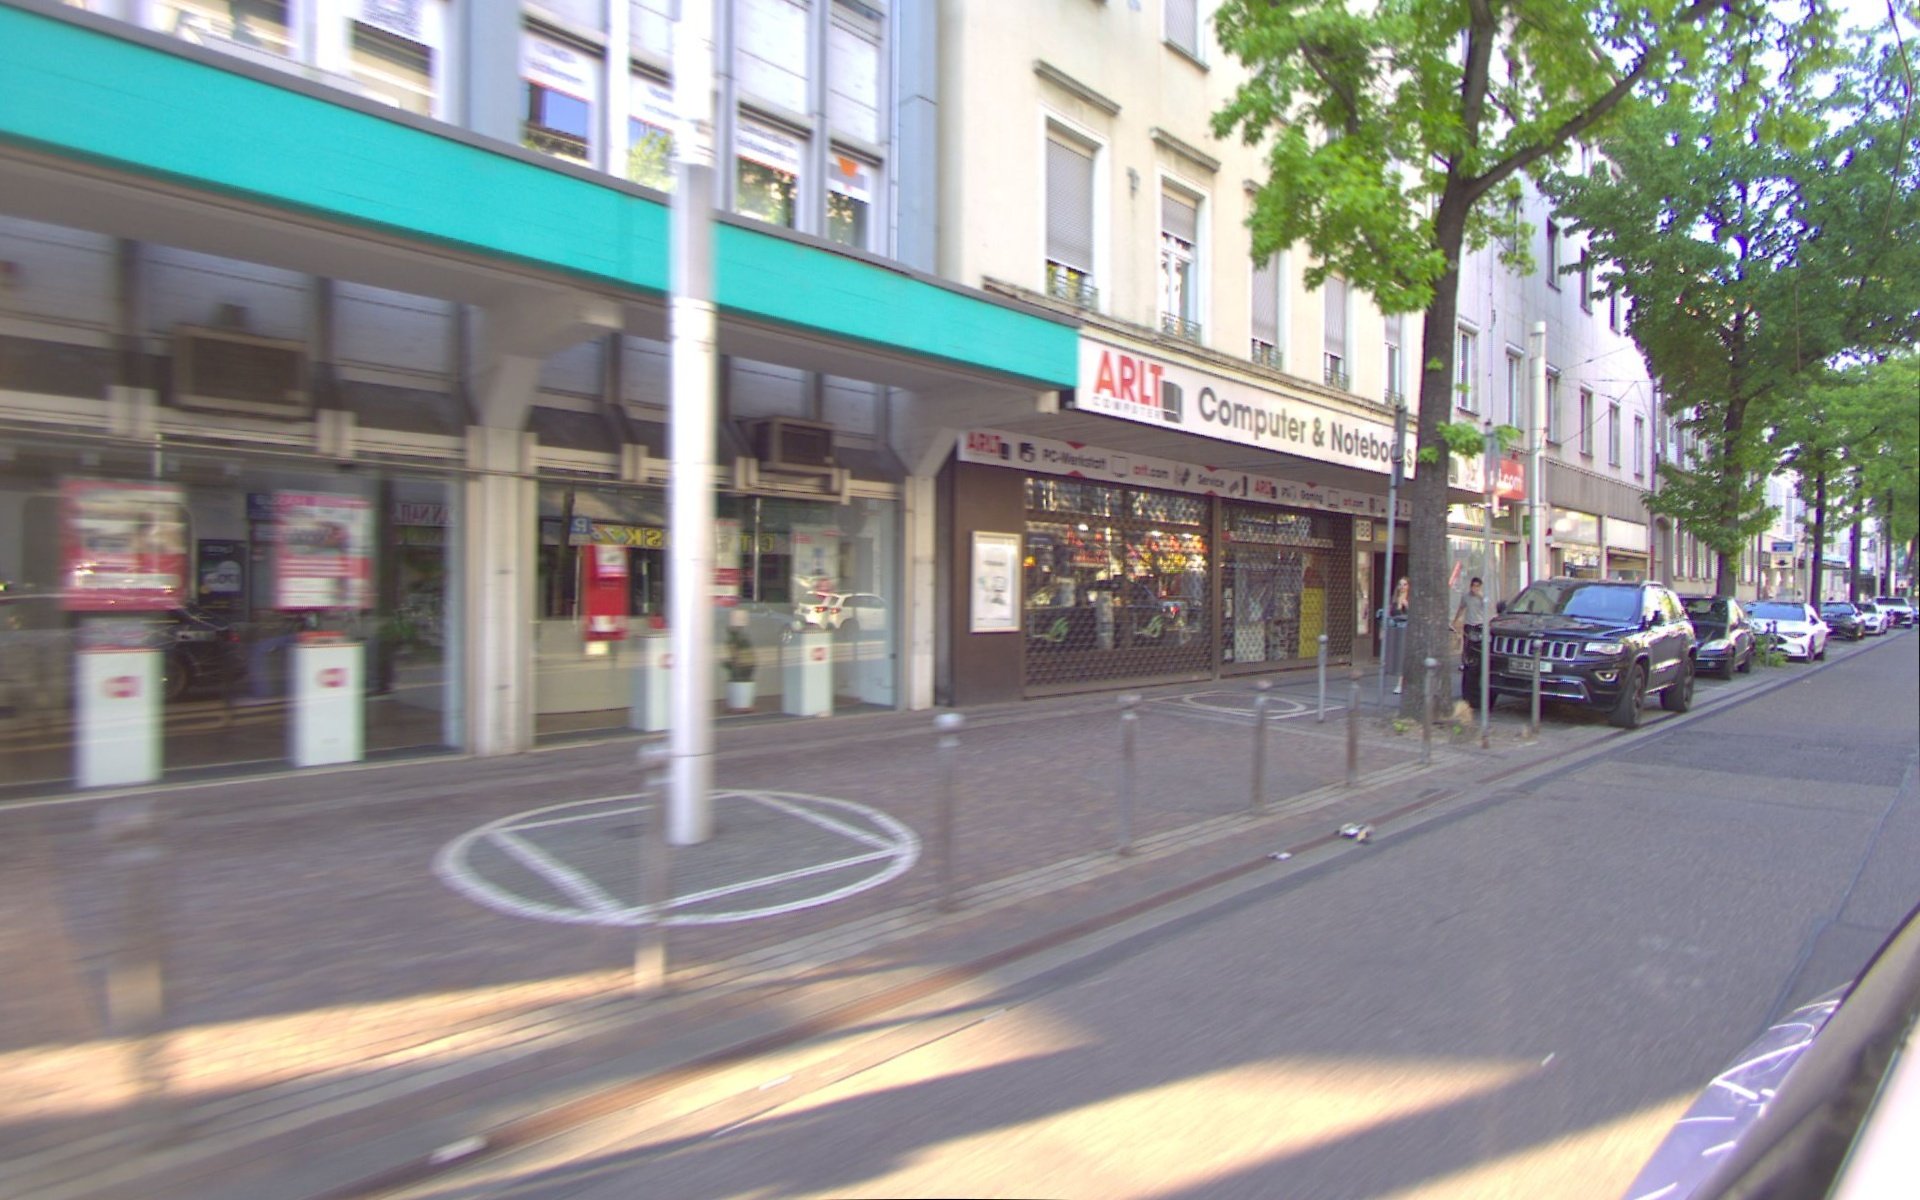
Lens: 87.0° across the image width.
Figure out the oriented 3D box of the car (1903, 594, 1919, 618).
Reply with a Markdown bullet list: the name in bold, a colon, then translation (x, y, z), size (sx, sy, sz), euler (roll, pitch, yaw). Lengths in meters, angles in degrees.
- **car**: translation (74.190, 0.459, 77.928), size (4.242, 1.815, 1.954), euler (0, 0, -43)

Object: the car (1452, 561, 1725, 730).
- **car**: translation (8.489, 0.476, 13.487), size (4.602, 1.780, 1.941), euler (0, 4, -44)

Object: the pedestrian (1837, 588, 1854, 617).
- **pedestrian**: translation (48.464, 0.130, 55.368), size (0.785, 1.593, 0.649), euler (0, 0, -44)

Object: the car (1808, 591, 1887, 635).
- **car**: translation (33.308, 0.445, 37.932), size (4.684, 1.496, 1.834), euler (0, 3, -45)

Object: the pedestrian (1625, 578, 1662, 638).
- **pedestrian**: translation (19.683, 0.215, 29.149), size (0.873, 1.685, 0.658), euler (0, 3, -44)

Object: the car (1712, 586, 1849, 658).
- **car**: translation (20.706, 0.497, 25.479), size (4.600, 1.516, 1.997), euler (0, 4, -43)

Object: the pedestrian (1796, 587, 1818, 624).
- **pedestrian**: translation (44.899, 0.278, 53.640), size (1.035, 1.910, 0.714), euler (0, 1, -44)

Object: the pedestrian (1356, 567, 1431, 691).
- **pedestrian**: translation (6.217, 0.392, 14.512), size (0.773, 1.690, 0.644), euler (0, 3, -44)

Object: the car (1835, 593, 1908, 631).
- **car**: translation (39.337, 0.489, 43.627), size (4.806, 1.438, 1.915), euler (0, 3, -44)

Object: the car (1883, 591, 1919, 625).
- **car**: translation (52.457, 0.413, 55.934), size (1.998, 1.708, 4.891), euler (3, 3, 43)

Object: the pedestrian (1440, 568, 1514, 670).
- **pedestrian**: translation (9.466, 0.330, 18.537), size (0.917, 1.774, 0.859), euler (0, 3, -44)

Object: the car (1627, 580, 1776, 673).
- **car**: translation (15.178, 0.472, 20.641), size (3.828, 1.610, 1.778), euler (0, 4, -44)
